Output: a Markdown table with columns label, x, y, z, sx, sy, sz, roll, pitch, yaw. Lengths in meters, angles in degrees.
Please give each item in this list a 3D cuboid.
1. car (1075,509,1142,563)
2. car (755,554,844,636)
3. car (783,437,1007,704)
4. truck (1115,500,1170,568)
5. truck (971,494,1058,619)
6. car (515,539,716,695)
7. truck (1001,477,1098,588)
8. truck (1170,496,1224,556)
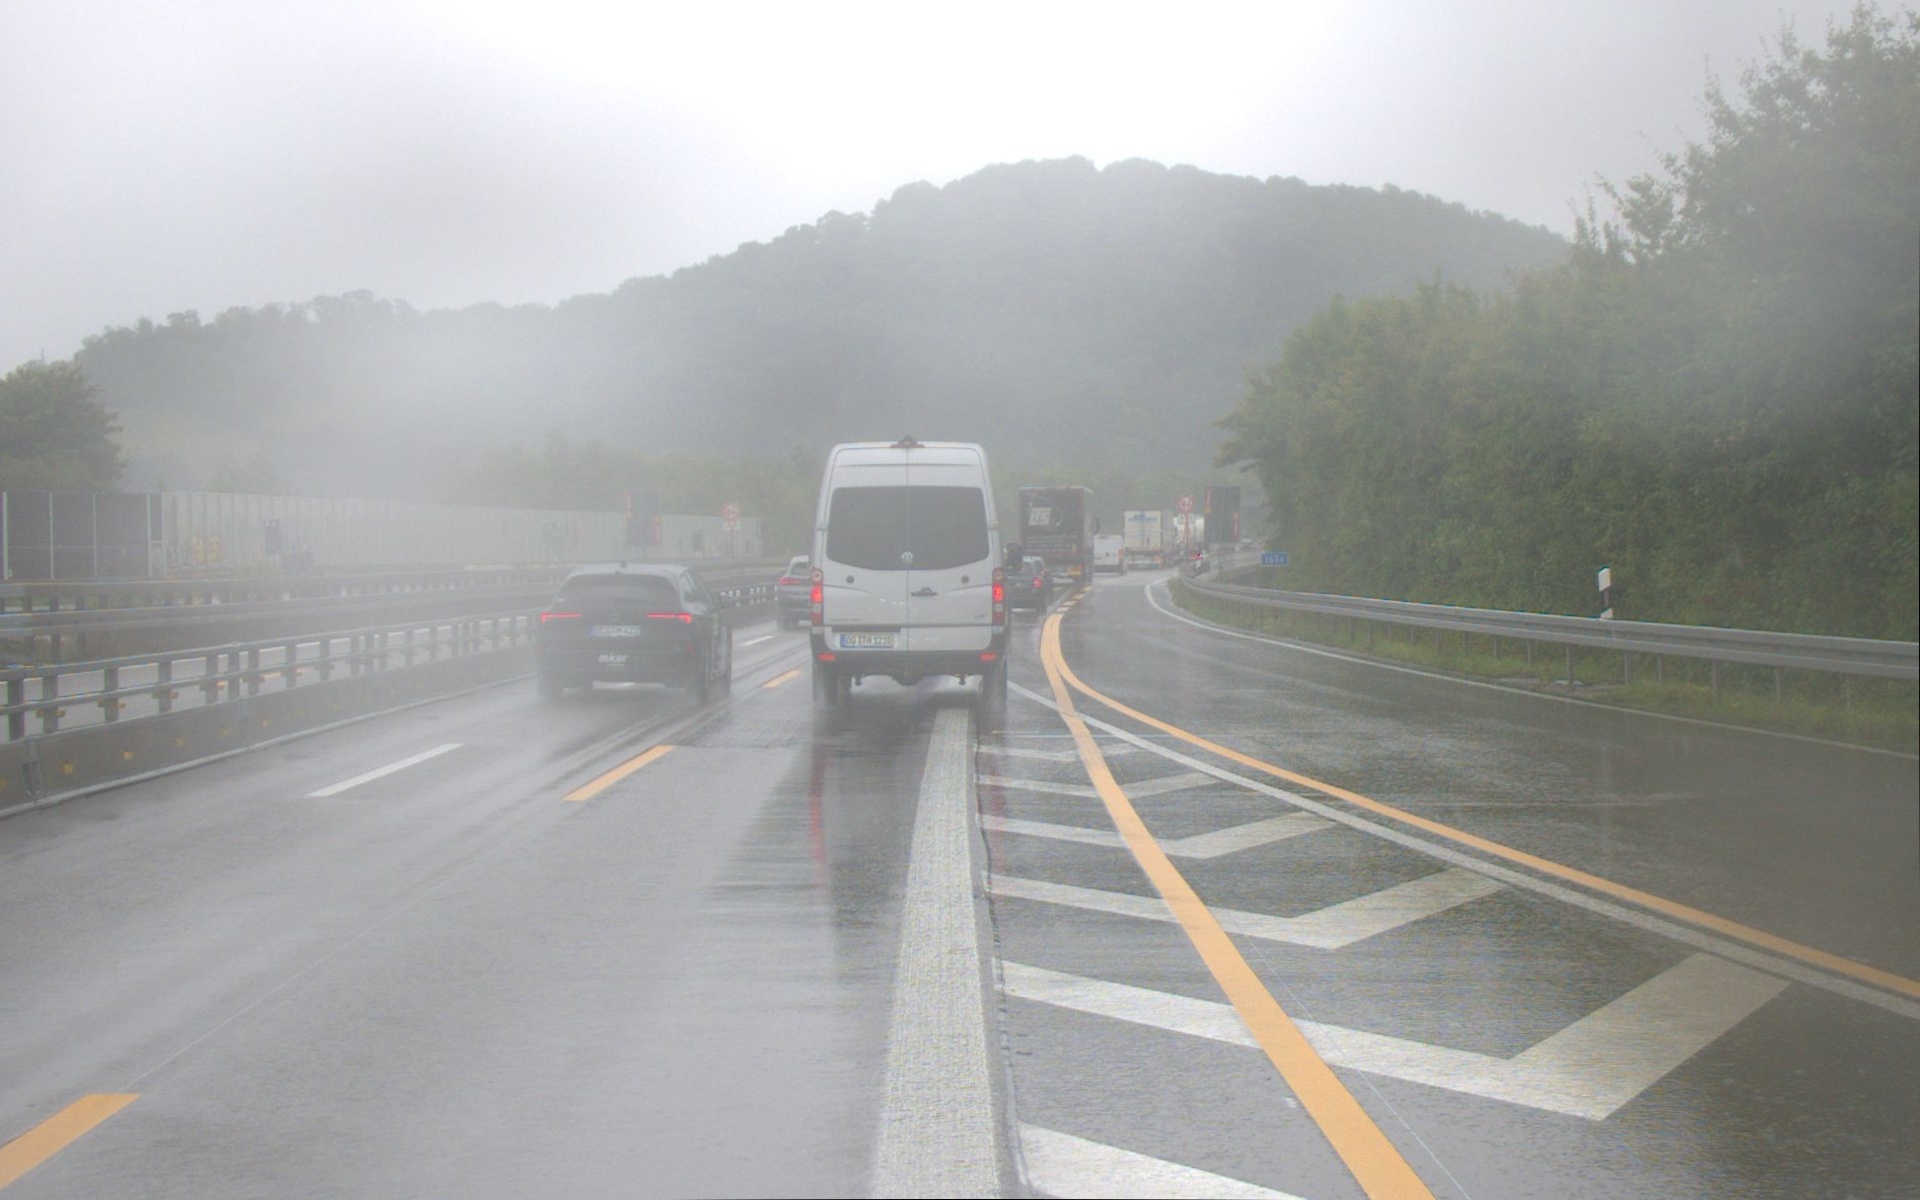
| label | x | y | z | sx | sy | sz | roll | pitch | yaw |
| --- | --- | --- | --- | --- | --- | --- | --- | --- | --- |
| car | 8.133 | -3.465 | 187.940 | 2.899 | 2.877 | 6.409 | 1 | 1 | 9 |
| car | -3.281 | -0.115 | 70.787 | 1.707 | 1.622 | 4.000 | 1 | 1 | -1 |
| car | -0.600 | -0.315 | 35.949 | 2.145 | 2.562 | 5.390 | 1 | 1 | 1 |
| truck | 12.088 | -4.332 | 227.244 | 3.037 | 4.391 | 9.622 | 1 | 1 | 6 |
| truck | 1.490 | -1.142 | 90.330 | 1.994 | 3.098 | 8.498 | 1 | 1 | 3 |
| car | -3.619 | 0.151 | 36.690 | 1.946 | 1.556 | 4.001 | 1 | 1 | -3 |
| truck | 3.743 | -2.728 | 141.580 | 3.582 | 4.391 | 9.623 | 1 | 1 | 4 |
| truck | 18.095 | -5.593 | 261.988 | 2.900 | 4.391 | 9.619 | 1 | 1 | 11 |
